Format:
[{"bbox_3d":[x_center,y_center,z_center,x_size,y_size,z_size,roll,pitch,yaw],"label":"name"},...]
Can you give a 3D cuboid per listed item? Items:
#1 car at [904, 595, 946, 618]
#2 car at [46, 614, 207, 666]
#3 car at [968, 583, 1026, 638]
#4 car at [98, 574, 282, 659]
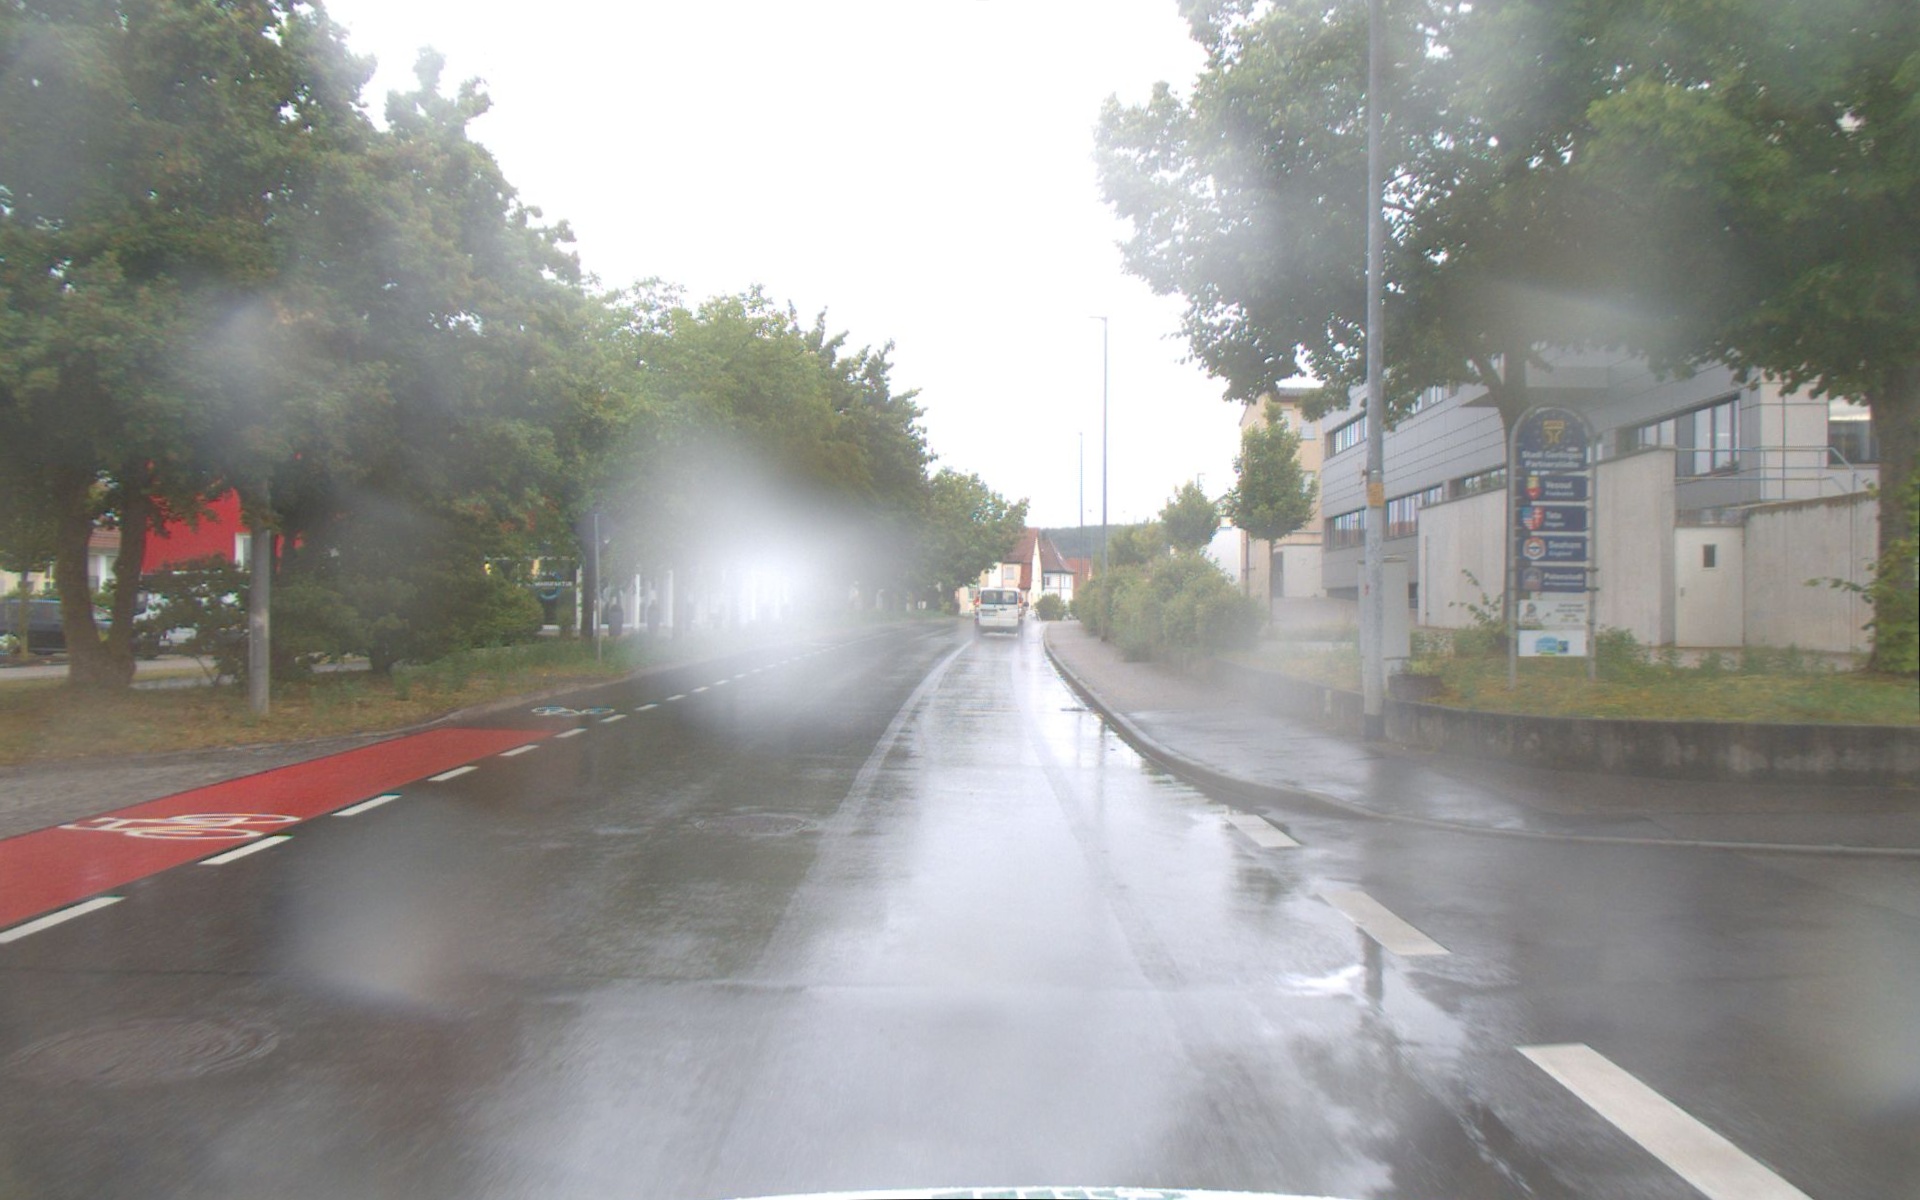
[{"bbox_3d":[-2.446,0.494,116.307,2.847,1.481,1.254,-2,-3,4],"label":"car"},{"bbox_3d":[-21.843,1.036,43.412,3.332,1.266,1.704,1,1,-2],"label":"car"},{"bbox_3d":[1.378,0.362,62.690,2.073,1.921,4.502,1,1,0],"label":"car"},{"bbox_3d":[-22.622,0.457,48.695,4.383,2.351,2.186,1,1,4],"label":"car"}]
